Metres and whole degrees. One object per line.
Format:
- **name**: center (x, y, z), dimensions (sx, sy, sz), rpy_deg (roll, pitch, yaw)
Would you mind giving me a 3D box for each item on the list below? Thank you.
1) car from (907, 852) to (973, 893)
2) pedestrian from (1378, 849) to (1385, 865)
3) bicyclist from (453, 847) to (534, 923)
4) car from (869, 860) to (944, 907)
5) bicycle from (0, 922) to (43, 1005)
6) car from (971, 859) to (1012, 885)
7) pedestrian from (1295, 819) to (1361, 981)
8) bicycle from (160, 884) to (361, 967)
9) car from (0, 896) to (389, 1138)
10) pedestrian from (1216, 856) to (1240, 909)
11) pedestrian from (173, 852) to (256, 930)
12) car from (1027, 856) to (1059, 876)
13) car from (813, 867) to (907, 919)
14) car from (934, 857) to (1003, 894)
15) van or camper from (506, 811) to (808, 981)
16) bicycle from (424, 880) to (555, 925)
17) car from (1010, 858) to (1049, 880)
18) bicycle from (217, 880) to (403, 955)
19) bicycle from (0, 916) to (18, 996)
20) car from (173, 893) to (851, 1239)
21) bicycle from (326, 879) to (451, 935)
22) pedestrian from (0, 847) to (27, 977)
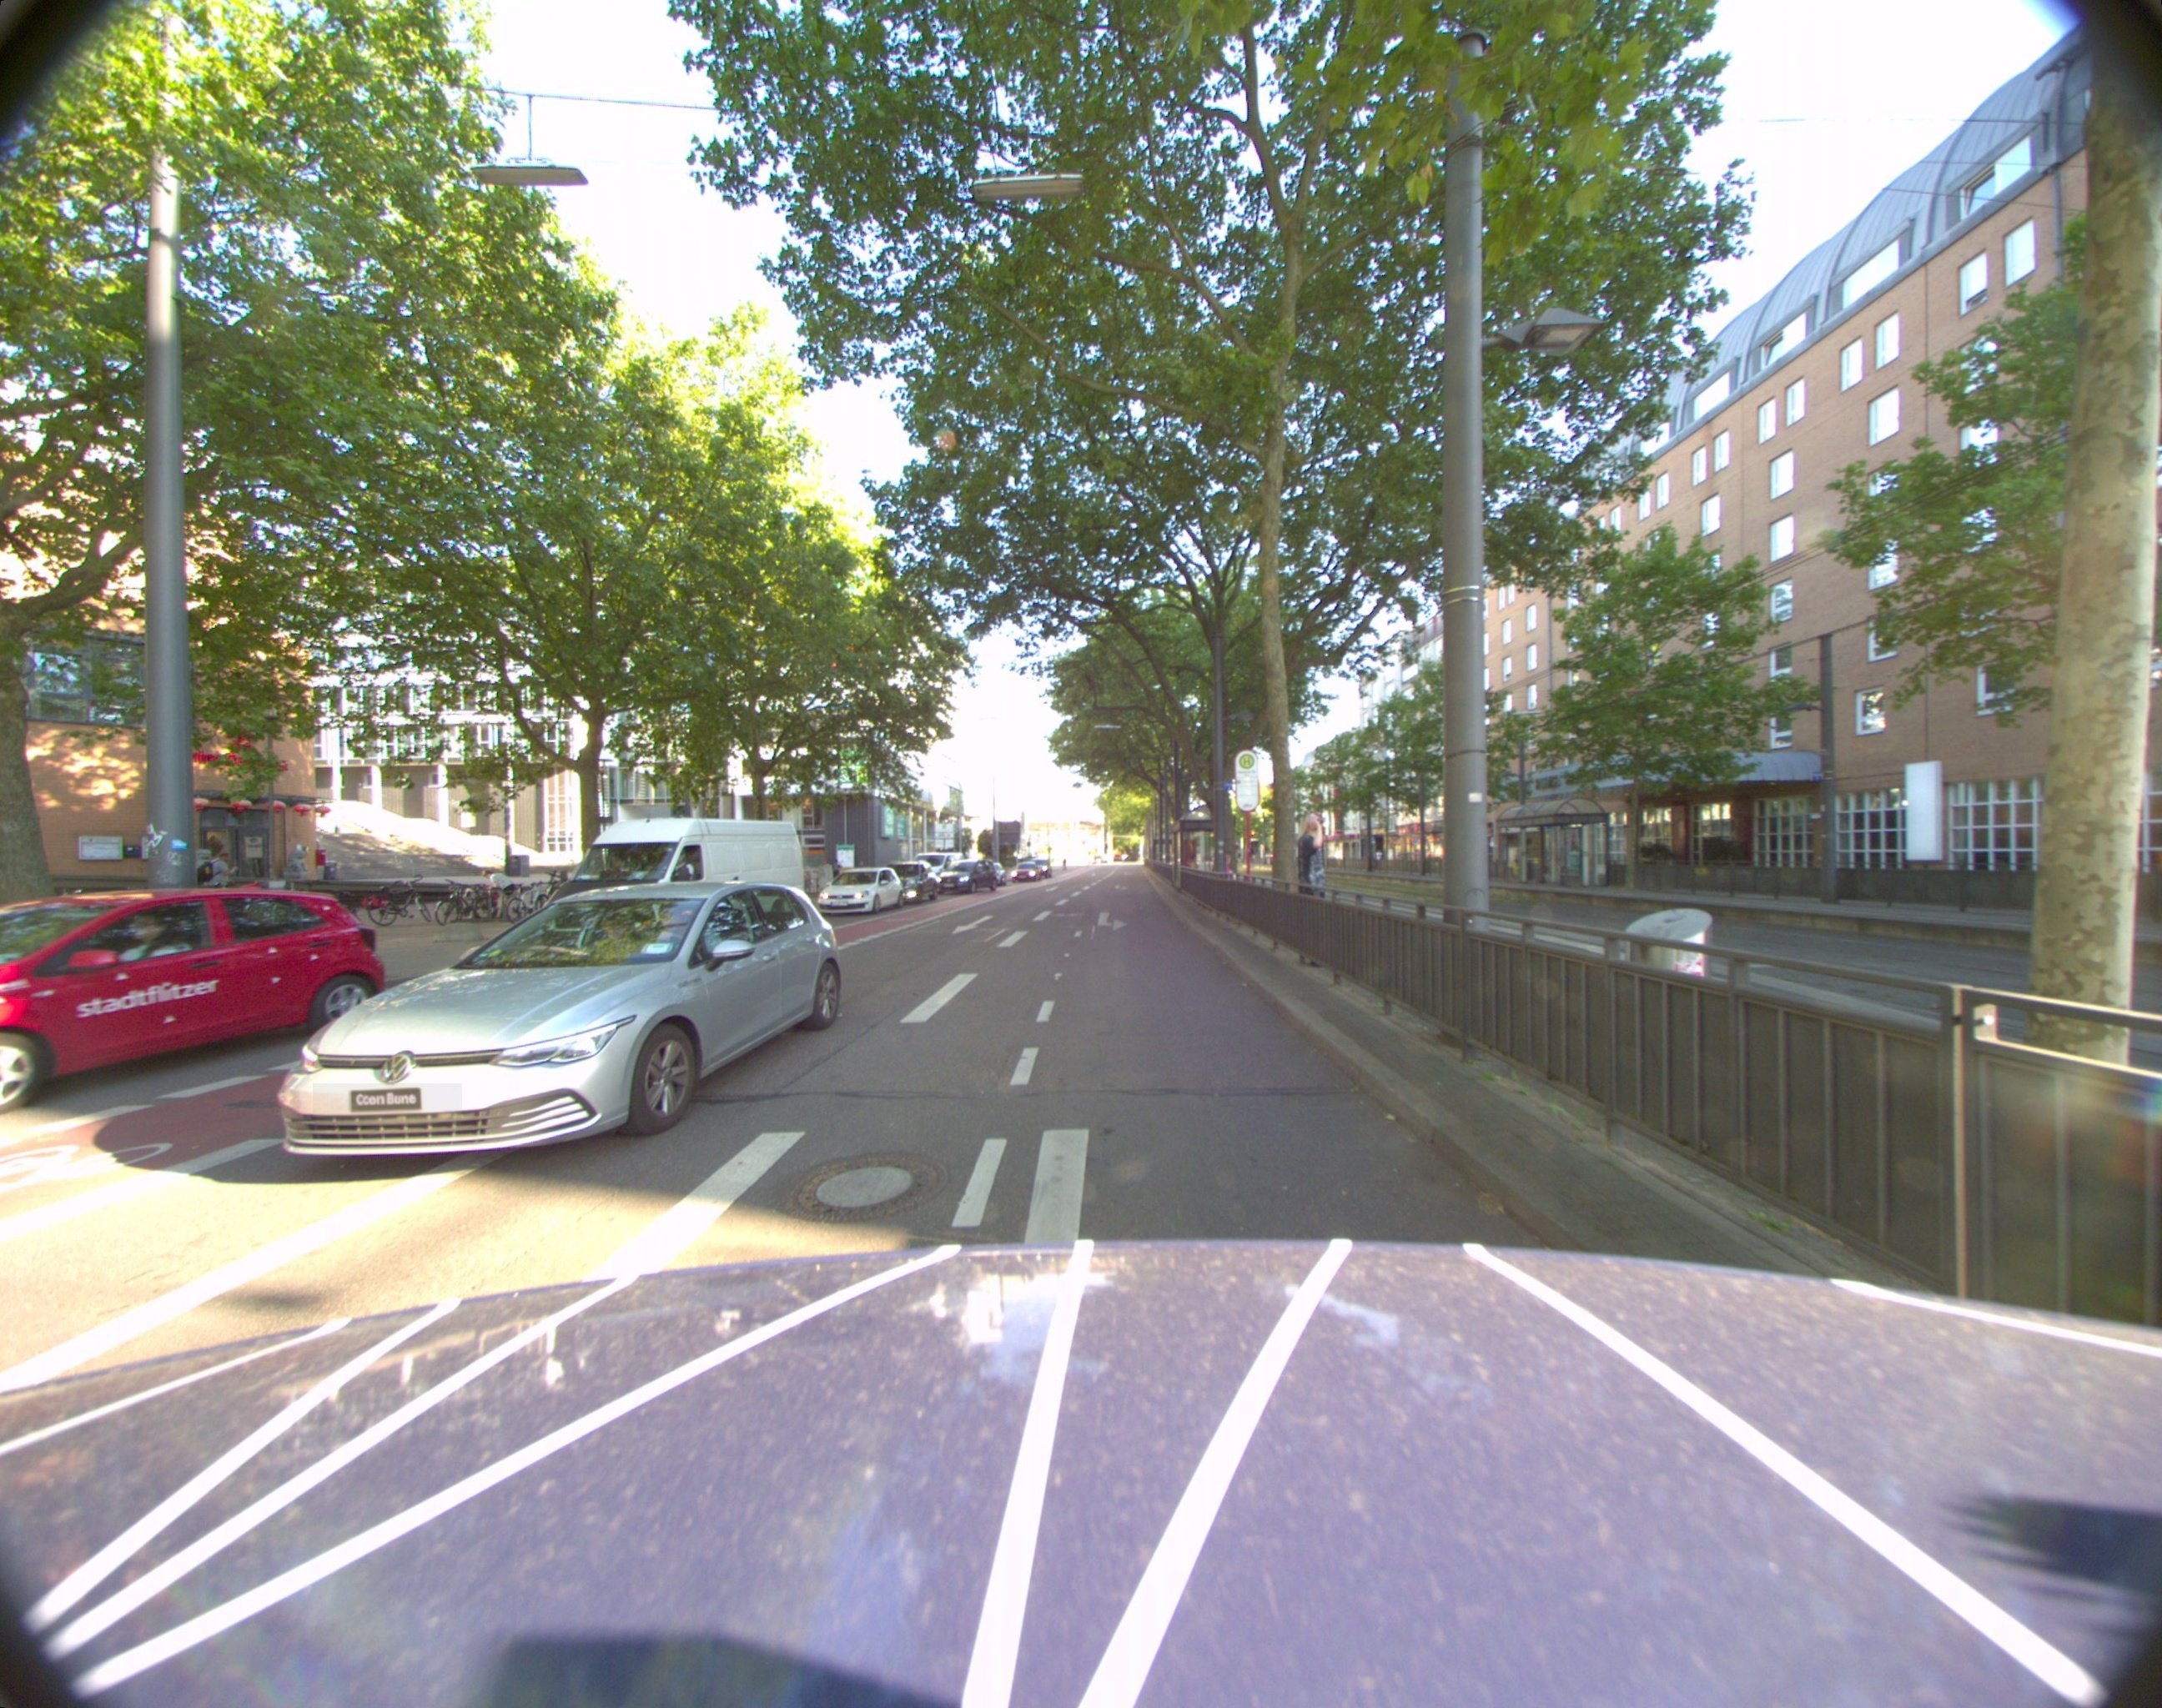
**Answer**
- **car**: center (-7.334, 0.886, 40.212), dimensions (1.932, 1.953, 5.920), rpy_deg (-2, 0, 4)
- **pedestrian**: center (31.313, 0.311, 79.203), dimensions (0.504, 1.725, 0.574), rpy_deg (-1, 1, 3)
- **bicyclist**: center (-16.111, 0.828, 20.863), dimensions (1.296, 2.002, 1.158), rpy_deg (-1, 1, 17)
- **car**: center (-6.714, 1.080, 29.674), dimensions (1.769, 1.626, 4.250), rpy_deg (-2, 0, 2)
- **bicycle**: center (-13.216, 1.339, 7.989), dimensions (0.925, 0.943, 2.637), rpy_deg (-2, 1, 1)
- **car**: center (-5.515, 1.096, 47.436), dimensions (1.835, 1.481, 4.196), rpy_deg (-2, 0, 2)
- **pedestrian**: center (2.892, 0.521, 8.923), dimensions (0.543, 1.823, 0.524), rpy_deg (-2, 1, 1)
- **bicycle**: center (-14.055, 1.172, 13.159), dimensions (0.751, 1.155, 2.398), rpy_deg (-2, 1, 2)
- **car**: center (-7.965, 1.189, 6.067), dimensions (1.494, 1.451, 3.597), rpy_deg (-2, 0, 1)
- **pedestrian**: center (3.809, 0.730, 19.612), dimensions (0.542, 1.310, 0.524), rpy_deg (-2, 1, 12)
- **pedestrian**: center (-23.268, 0.966, 20.426), dimensions (1.013, 2.002, 1.016), rpy_deg (-2, 1, 12)
- **car**: center (-3.145, 0.998, 64.036), dimensions (1.784, 1.481, 4.198), rpy_deg (-3, 0, 10)
- **car**: center (-7.036, 1.199, 24.625), dimensions (1.639, 1.420, 3.987), rpy_deg (-2, 0, 3)
- **car**: center (-5.383, 1.002, 36.983), dimensions (1.708, 1.626, 4.395), rpy_deg (-2, 0, 14)
- **van or camper**: center (-7.681, 0.639, 14.906), dimensions (2.004, 2.599, 6.499), rpy_deg (-1, 0, 3)
- **bicycle**: center (-16.260, 1.292, 20.895), dimensions (3.328, 1.077, 1.150), rpy_deg (0, 1, 18)
- **car**: center (-3.750, 1.070, 56.059), dimensions (1.834, 1.481, 4.198), rpy_deg (-3, 0, 10)
- **bicycle**: center (-12.933, 1.021, 12.892), dimensions (0.682, 1.054, 2.337), rpy_deg (-1, 1, 2)
- **bicycle**: center (-14.224, 1.335, 8.047), dimensions (1.050, 0.996, 3.412), rpy_deg (-2, 1, 1)
- **car**: center (-3.262, 1.095, 5.518), dimensions (1.752, 1.410, 4.001), rpy_deg (-2, -1, 3)
- **bicycle**: center (-17.844, 1.329, 19.711), dimensions (0.699, 1.193, 2.700), rpy_deg (-2, 1, 1)
- **pedestrian**: center (-17.080, 0.893, 11.459), dimensions (0.934, 2.002, 1.091), rpy_deg (-1, 1, -25)
